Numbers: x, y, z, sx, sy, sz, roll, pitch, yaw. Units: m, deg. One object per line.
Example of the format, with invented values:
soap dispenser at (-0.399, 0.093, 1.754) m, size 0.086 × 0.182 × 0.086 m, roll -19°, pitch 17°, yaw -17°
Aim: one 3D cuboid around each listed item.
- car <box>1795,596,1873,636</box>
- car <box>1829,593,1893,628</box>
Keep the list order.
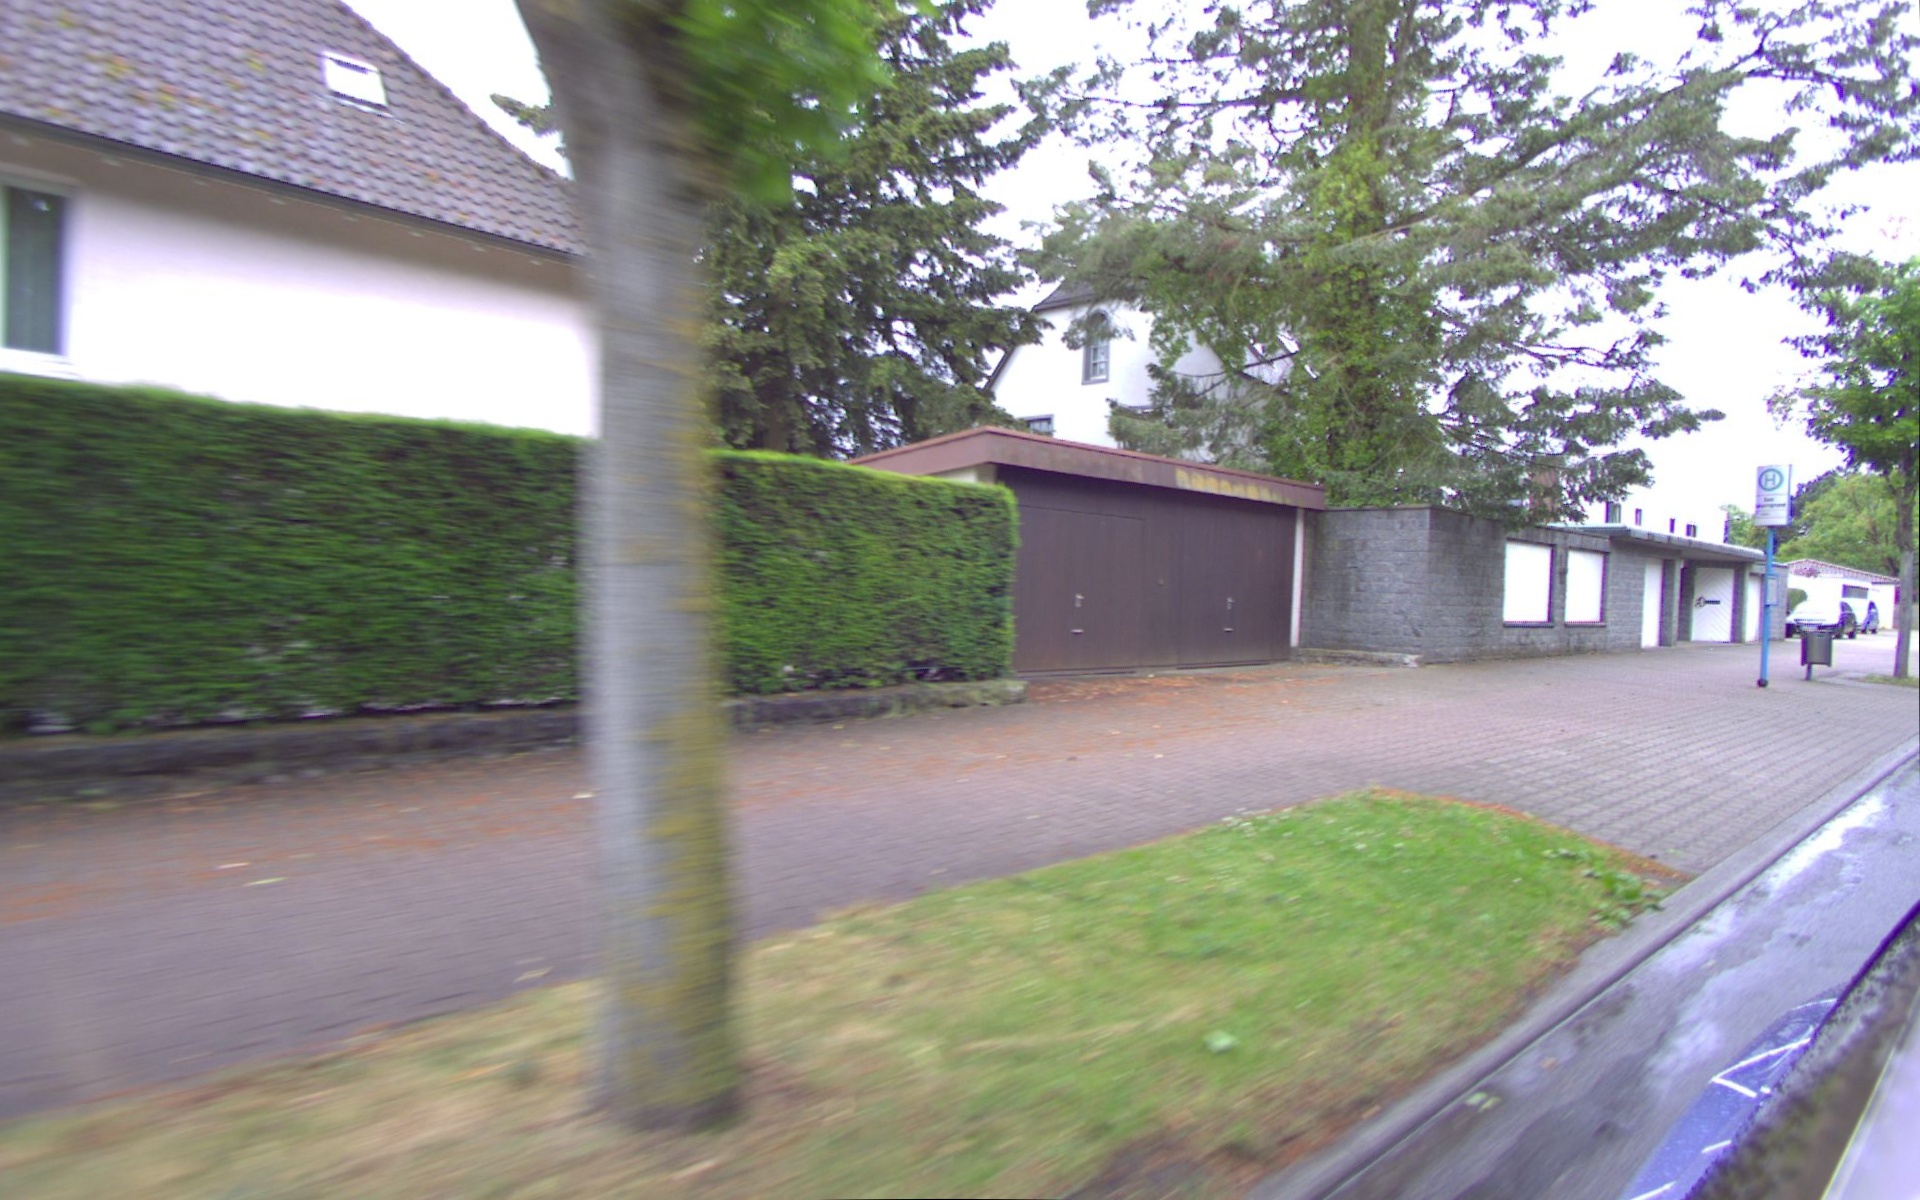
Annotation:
car at (33.271, 0.565, 38.485) m, size 3.929 × 1.440 × 1.665 m, roll 0°, pitch 0°, yaw -40°
car at (42.352, 0.461, 47.536) m, size 3.929 × 1.581 × 1.699 m, roll 0°, pitch 0°, yaw -40°
